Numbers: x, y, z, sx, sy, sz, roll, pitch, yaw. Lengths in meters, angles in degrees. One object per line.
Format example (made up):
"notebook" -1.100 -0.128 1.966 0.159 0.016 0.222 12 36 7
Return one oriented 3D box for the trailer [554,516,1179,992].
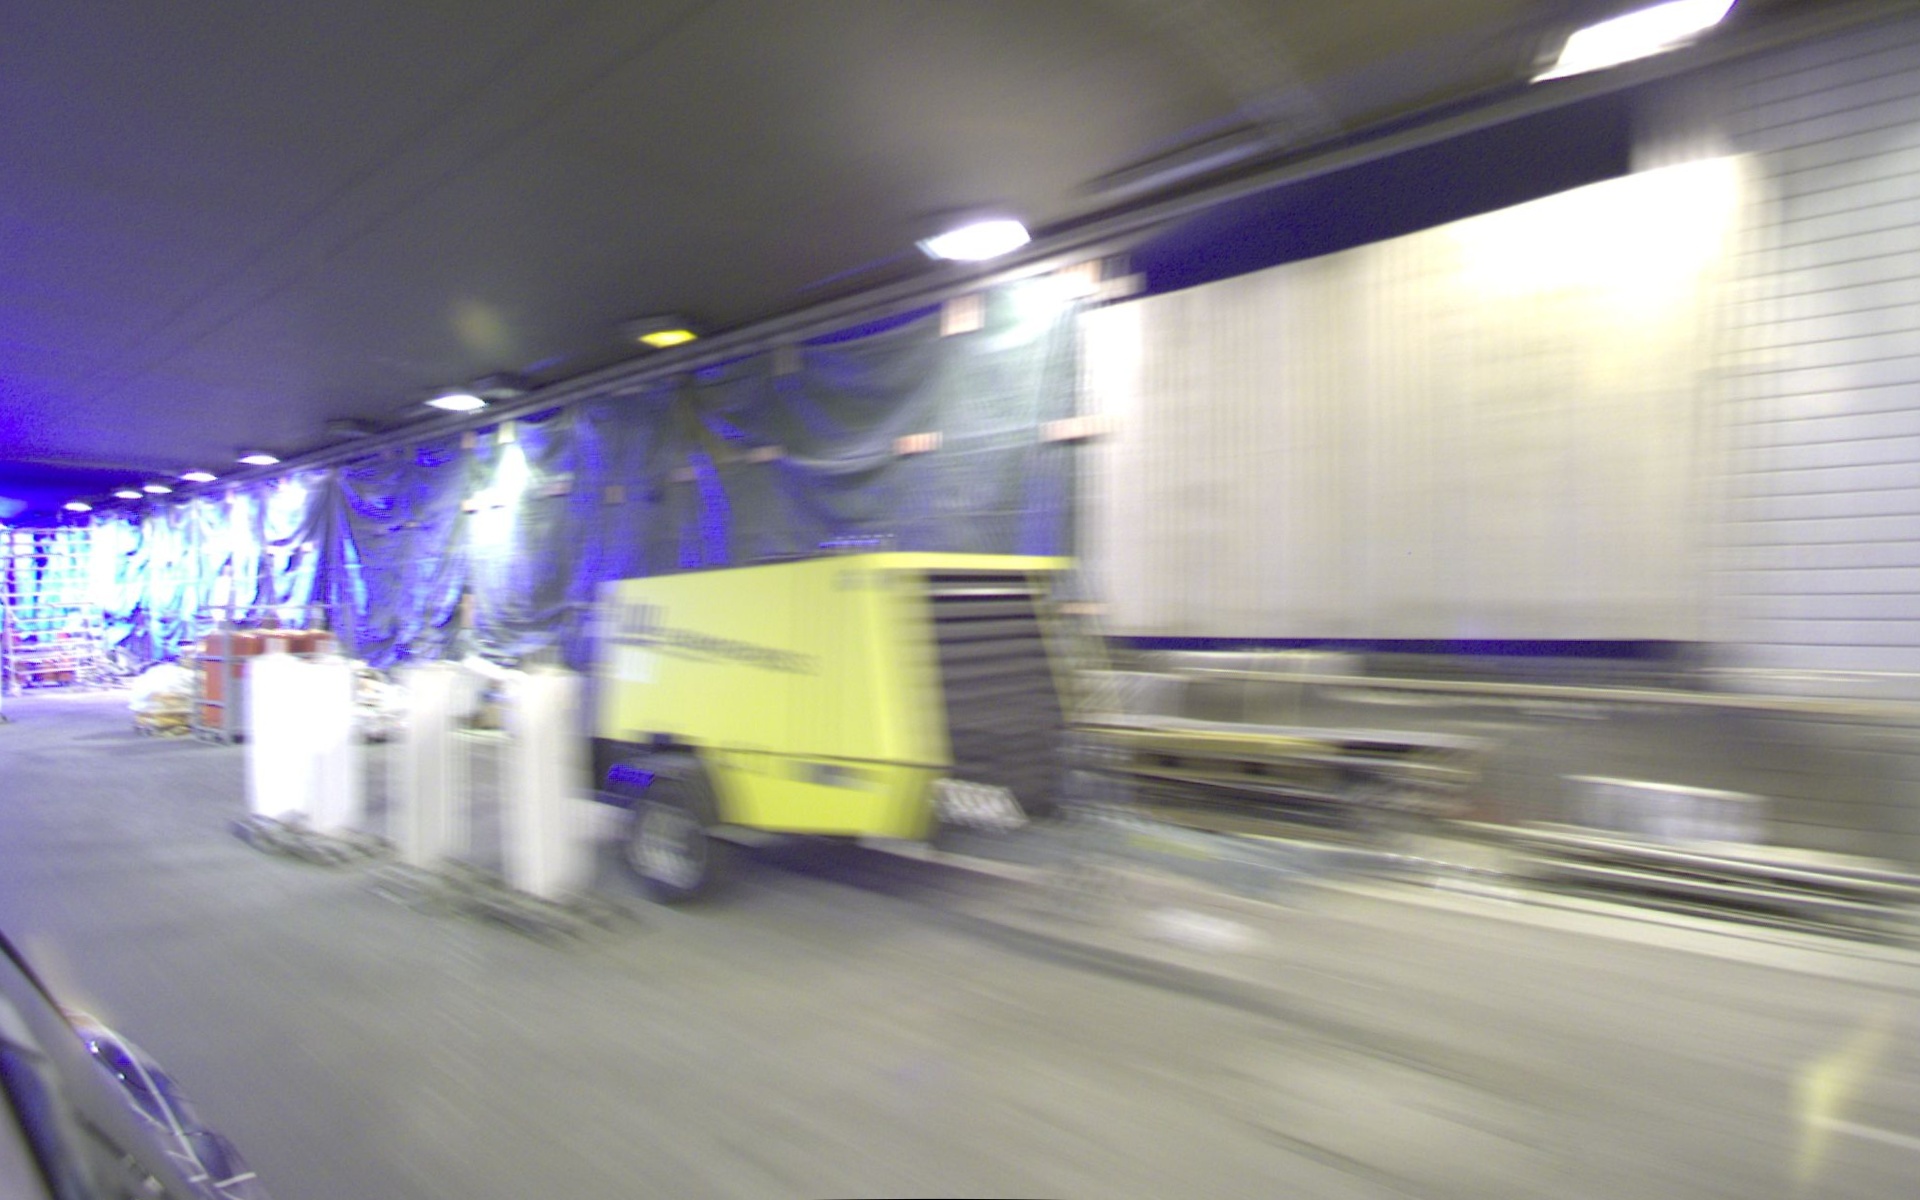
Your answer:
"trailer" -0.610 0.600 5.460 3.119 1.804 1.623 -1 -1 39
